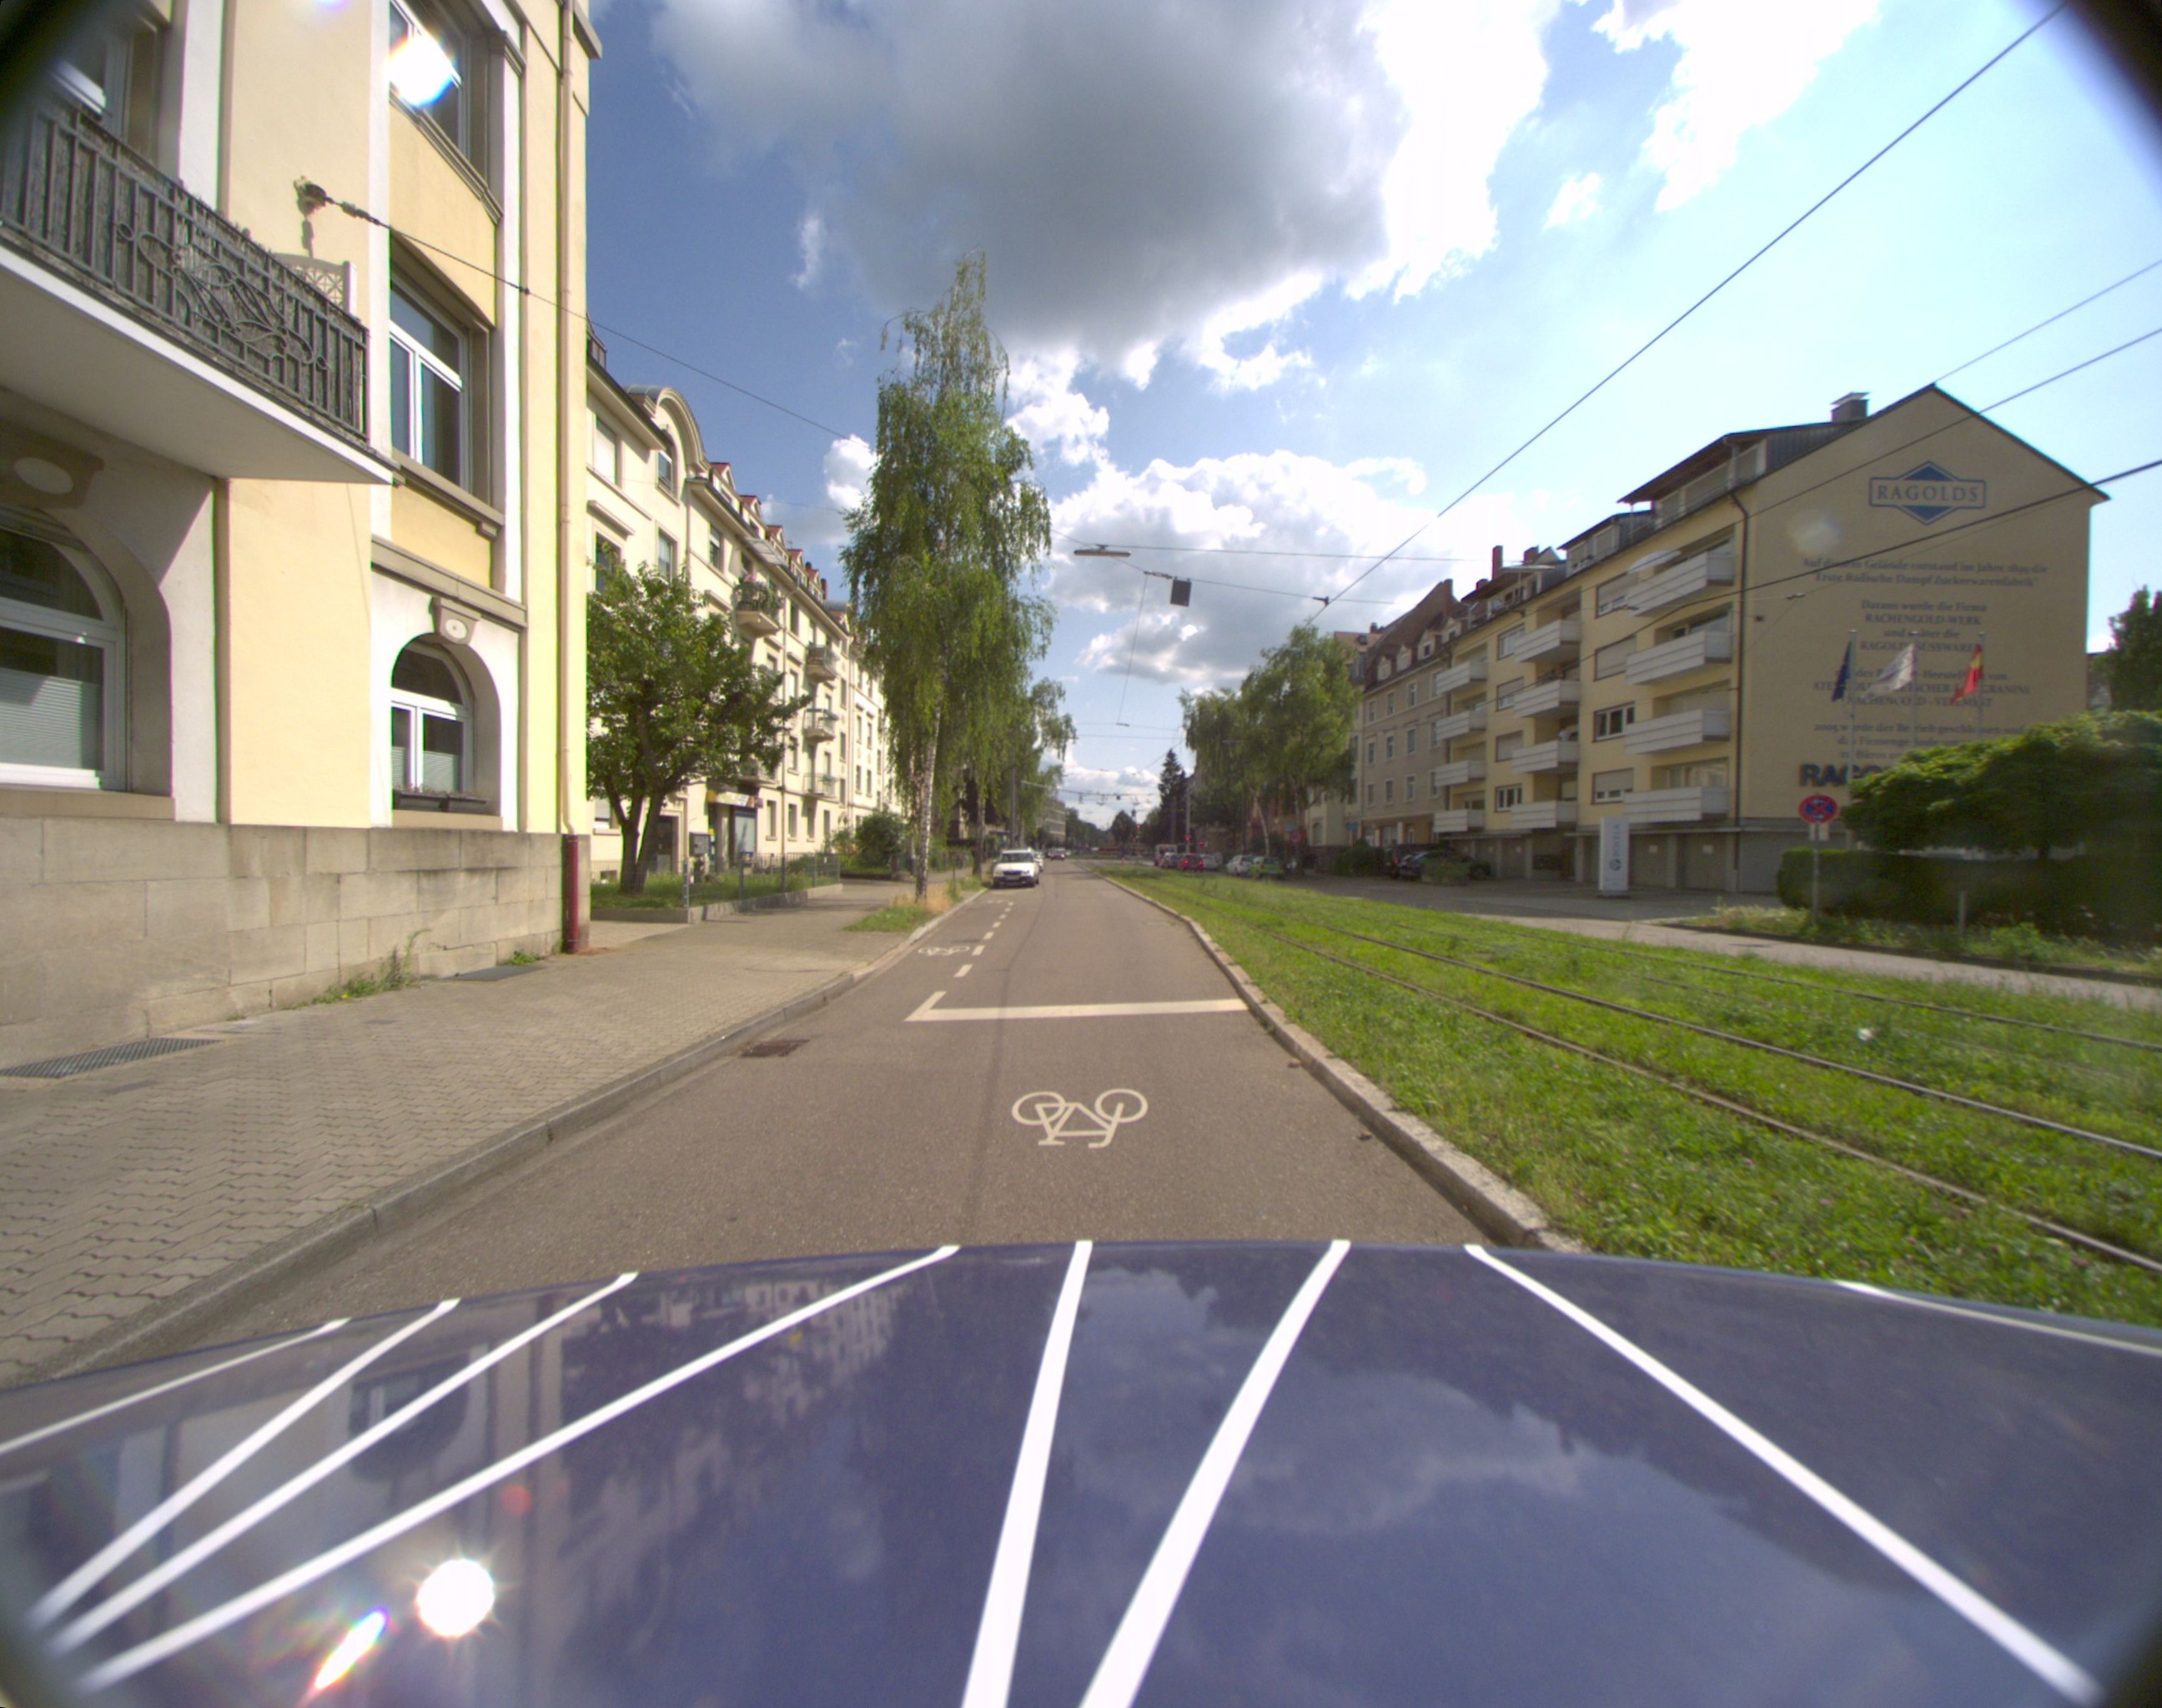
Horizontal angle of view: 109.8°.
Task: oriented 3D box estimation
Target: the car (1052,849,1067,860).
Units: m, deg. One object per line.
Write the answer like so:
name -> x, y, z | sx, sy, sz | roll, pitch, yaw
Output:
car -> -2.923, 0.061, 103.263 | 1.741, 1.313, 4.000 | -1, 1, 2

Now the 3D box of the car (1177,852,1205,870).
car -> 8.623, 0.528, 59.693 | 1.583, 1.379, 3.692 | 1, 1, -1

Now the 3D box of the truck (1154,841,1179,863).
truck -> 9.265, -0.259, 82.820 | 2.190, 2.201, 6.612 | 2, 0, 2

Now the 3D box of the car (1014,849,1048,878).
car -> -2.670, 0.488, 41.213 | 1.677, 1.409, 3.794 | -2, 1, -3

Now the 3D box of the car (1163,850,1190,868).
car -> 8.385, 0.415, 67.043 | 1.759, 1.348, 4.511 | 3, 1, 0

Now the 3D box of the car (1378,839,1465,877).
car -> 19.098, 0.215, 42.708 | 3.996, 2.002, 1.937 | -1, 1, 1

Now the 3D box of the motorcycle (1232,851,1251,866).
motorcycle -> 13.560, 0.349, 64.240 | 0.903, 1.235, 2.293 | 0, 1, -8

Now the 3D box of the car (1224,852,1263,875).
car -> 11.459, 0.638, 53.816 | 1.649, 1.469, 4.224 | 2, 1, -1

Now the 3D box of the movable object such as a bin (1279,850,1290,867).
movable object such as a bin -> 16.987, 0.364, 63.368 | 0.675, 1.354, 0.699 | 1, 1, -5

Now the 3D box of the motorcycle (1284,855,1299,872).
motorcycle -> 13.977, 0.606, 50.466 | 0.500, 1.037, 1.631 | -3, 2, -2

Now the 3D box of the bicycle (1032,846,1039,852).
bicycle -> -6.935, -0.727, 115.337 | 0.771, 0.885, 1.892 | 1, 0, 4

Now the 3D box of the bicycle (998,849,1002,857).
bicycle -> -10.354, -0.100, 97.301 | 0.350, 1.016, 1.480 | 4, 1, -3

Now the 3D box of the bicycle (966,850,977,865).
bicycle -> -8.297, 0.260, 57.562 | 0.473, 1.071, 2.182 | 1, 1, -1

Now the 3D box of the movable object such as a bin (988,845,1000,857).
movable object such as a bin -> -11.074, -0.407, 96.428 | 1.305, 1.483, 1.999 | 1, 1, -1

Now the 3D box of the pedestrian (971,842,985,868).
pedestrian -> -6.783, 0.073, 50.213 | 0.731, 1.673, 0.691 | 3, 1, 1

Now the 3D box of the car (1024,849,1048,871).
car -> -3.199, 0.395, 54.558 | 1.624, 1.444, 3.917 | -3, 1, -2

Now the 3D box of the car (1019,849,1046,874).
car -> -3.136, 0.453, 49.932 | 1.593, 1.444, 3.843 | -3, 1, -2

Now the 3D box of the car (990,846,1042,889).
car -> -2.609, 0.502, 31.293 | 1.725, 1.620, 3.999 | -2, 1, 1

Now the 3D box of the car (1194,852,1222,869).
car -> 11.168, 0.535, 67.036 | 1.759, 1.348, 3.994 | 1, 1, 0

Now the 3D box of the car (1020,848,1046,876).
car -> -2.875, 0.439, 45.618 | 1.497, 1.570, 3.757 | -2, 1, -3

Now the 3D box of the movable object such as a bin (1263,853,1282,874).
movable object such as a bin -> 13.841, 0.690, 54.933 | 0.953, 1.421, 1.521 | -2, 1, -3

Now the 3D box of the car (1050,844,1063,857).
car -> -4.039, -0.550, 124.965 | 1.998, 2.002, 4.000 | 1, 1, 0

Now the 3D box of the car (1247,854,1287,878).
car -> 11.815, 0.745, 48.538 | 1.598, 1.424, 3.613 | 1, 1, -1

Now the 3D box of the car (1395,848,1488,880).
car -> 18.912, 0.516, 39.983 | 3.998, 1.593, 1.972 | -1, 1, -2

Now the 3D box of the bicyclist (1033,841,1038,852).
bicyclist -> -6.917, -1.188, 115.359 | 0.665, 1.679, 0.857 | 2, 1, 3

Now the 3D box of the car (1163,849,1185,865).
car -> 8.987, 0.304, 73.478 | 1.759, 1.406, 4.133 | 3, 1, 2

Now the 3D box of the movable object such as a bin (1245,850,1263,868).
movable object such as a bin -> 13.958, 0.364, 61.320 | 0.953, 1.359, 1.521 | -4, 1, -3
